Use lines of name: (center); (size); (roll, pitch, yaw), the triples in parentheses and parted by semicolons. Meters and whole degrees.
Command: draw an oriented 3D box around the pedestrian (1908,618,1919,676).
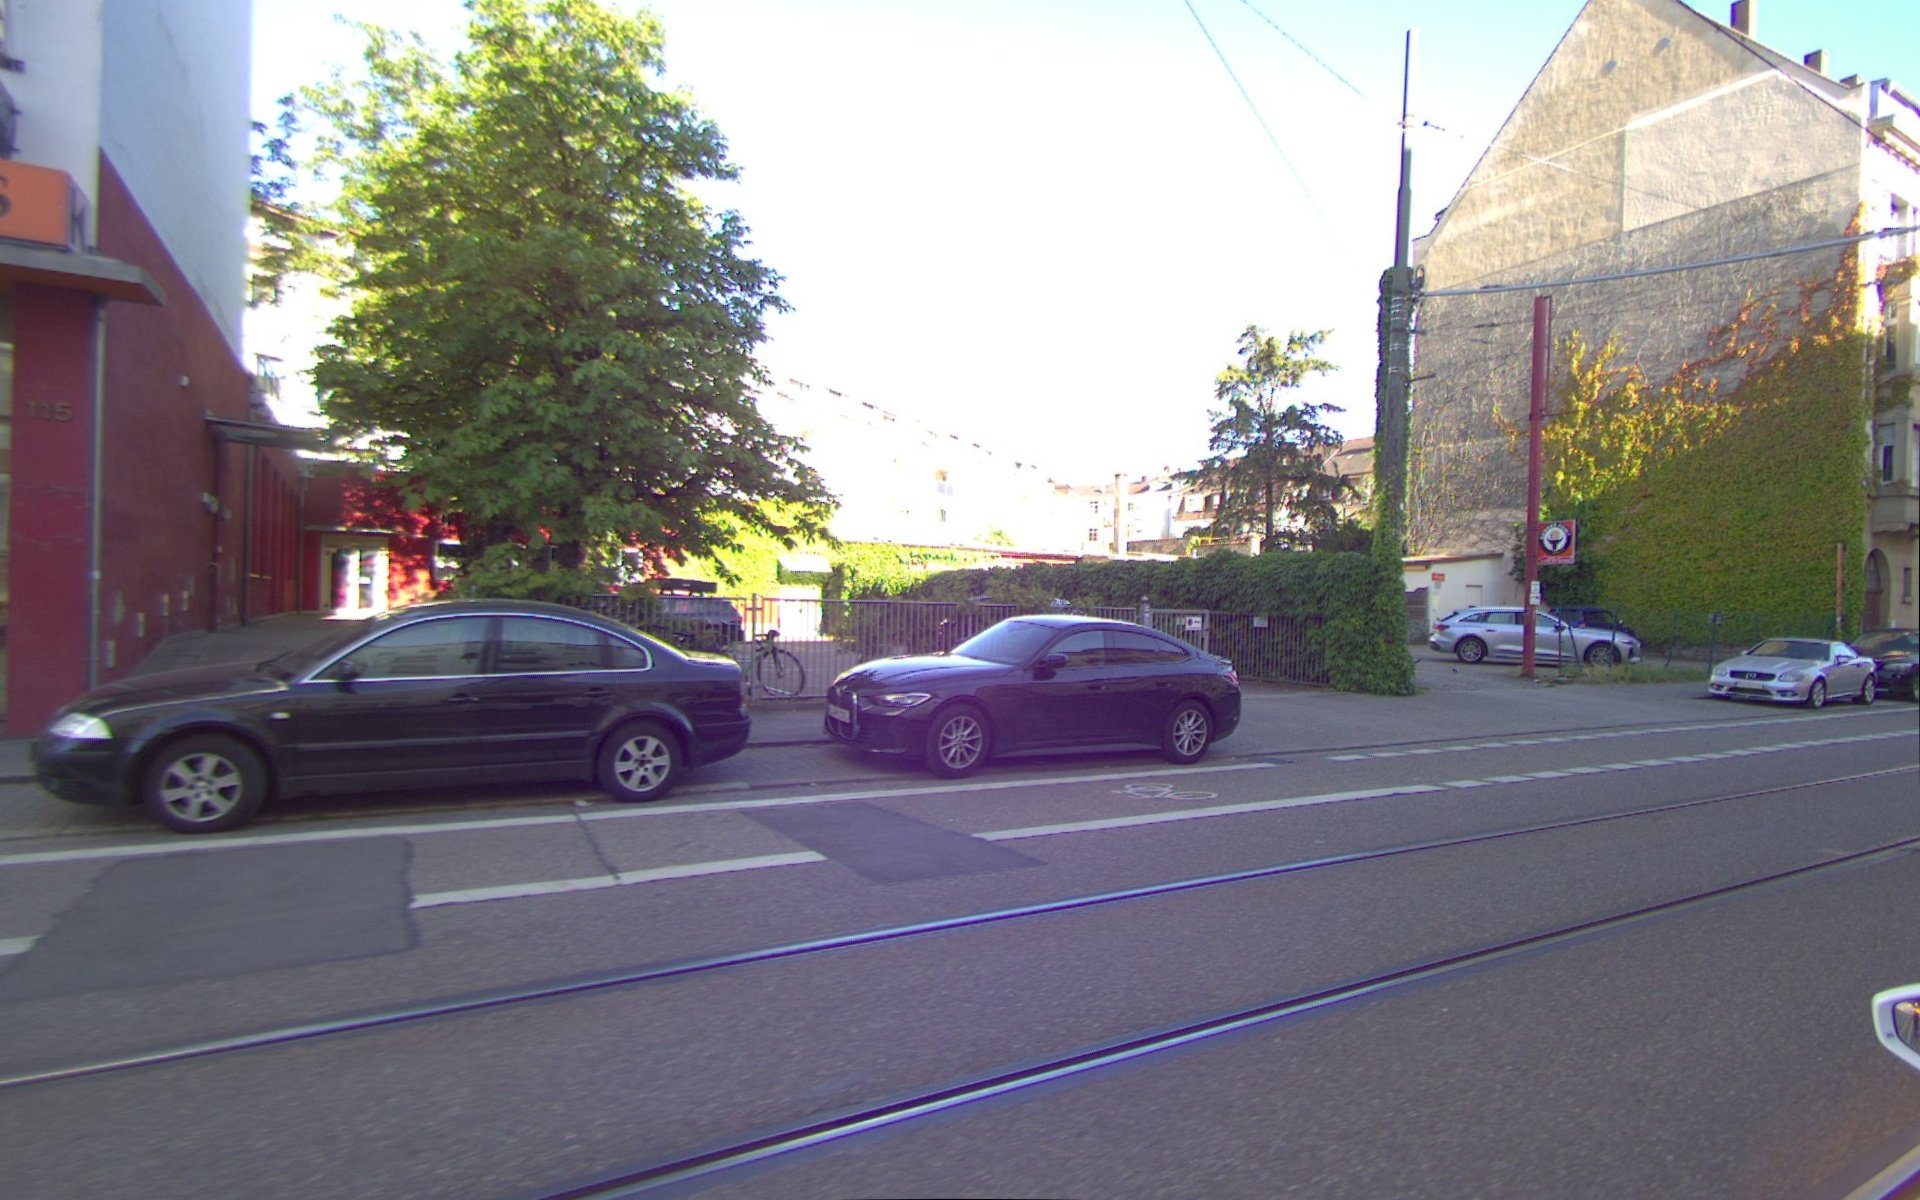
pedestrian: (29.570, 1.441, 30.715); (0.609, 1.747, 0.676); (1, 1, -30)

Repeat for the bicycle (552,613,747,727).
bicycle: (-3.469, 0.774, 11.325); (2.026, 1.190, 0.437); (2, 0, -30)

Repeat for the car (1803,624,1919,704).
car: (21.385, 1.419, 22.876); (4.553, 1.586, 1.775); (2, 2, -29)

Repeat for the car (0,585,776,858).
car: (-3.929, 0.732, 7.612); (4.646, 1.501, 1.774); (2, 2, -31)

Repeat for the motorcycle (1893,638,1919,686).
motorcycle: (25.352, 1.616, 25.746); (2.137, 1.187, 0.741); (2, 0, 0)

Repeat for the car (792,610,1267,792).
car: (0.827, 0.931, 10.540); (4.785, 1.465, 1.774); (2, 2, -30)

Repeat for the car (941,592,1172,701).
car: (1.532, 0.720, 17.689); (1.975, 1.619, 4.343); (2, 0, -28)

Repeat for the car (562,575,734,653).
car: (-8.152, 0.377, 26.237); (4.091, 1.919, 1.761); (1, 0, -24)

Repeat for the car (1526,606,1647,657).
car: (20.637, 1.027, 33.070); (3.863, 1.546, 1.744); (1, 0, -30)

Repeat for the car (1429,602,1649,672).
car: (14.709, 0.901, 25.835); (4.708, 1.538, 1.998); (2, 0, 27)

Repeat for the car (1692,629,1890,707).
car: (16.962, 1.340, 20.463); (4.172, 1.331, 1.774); (2, 2, -31)
